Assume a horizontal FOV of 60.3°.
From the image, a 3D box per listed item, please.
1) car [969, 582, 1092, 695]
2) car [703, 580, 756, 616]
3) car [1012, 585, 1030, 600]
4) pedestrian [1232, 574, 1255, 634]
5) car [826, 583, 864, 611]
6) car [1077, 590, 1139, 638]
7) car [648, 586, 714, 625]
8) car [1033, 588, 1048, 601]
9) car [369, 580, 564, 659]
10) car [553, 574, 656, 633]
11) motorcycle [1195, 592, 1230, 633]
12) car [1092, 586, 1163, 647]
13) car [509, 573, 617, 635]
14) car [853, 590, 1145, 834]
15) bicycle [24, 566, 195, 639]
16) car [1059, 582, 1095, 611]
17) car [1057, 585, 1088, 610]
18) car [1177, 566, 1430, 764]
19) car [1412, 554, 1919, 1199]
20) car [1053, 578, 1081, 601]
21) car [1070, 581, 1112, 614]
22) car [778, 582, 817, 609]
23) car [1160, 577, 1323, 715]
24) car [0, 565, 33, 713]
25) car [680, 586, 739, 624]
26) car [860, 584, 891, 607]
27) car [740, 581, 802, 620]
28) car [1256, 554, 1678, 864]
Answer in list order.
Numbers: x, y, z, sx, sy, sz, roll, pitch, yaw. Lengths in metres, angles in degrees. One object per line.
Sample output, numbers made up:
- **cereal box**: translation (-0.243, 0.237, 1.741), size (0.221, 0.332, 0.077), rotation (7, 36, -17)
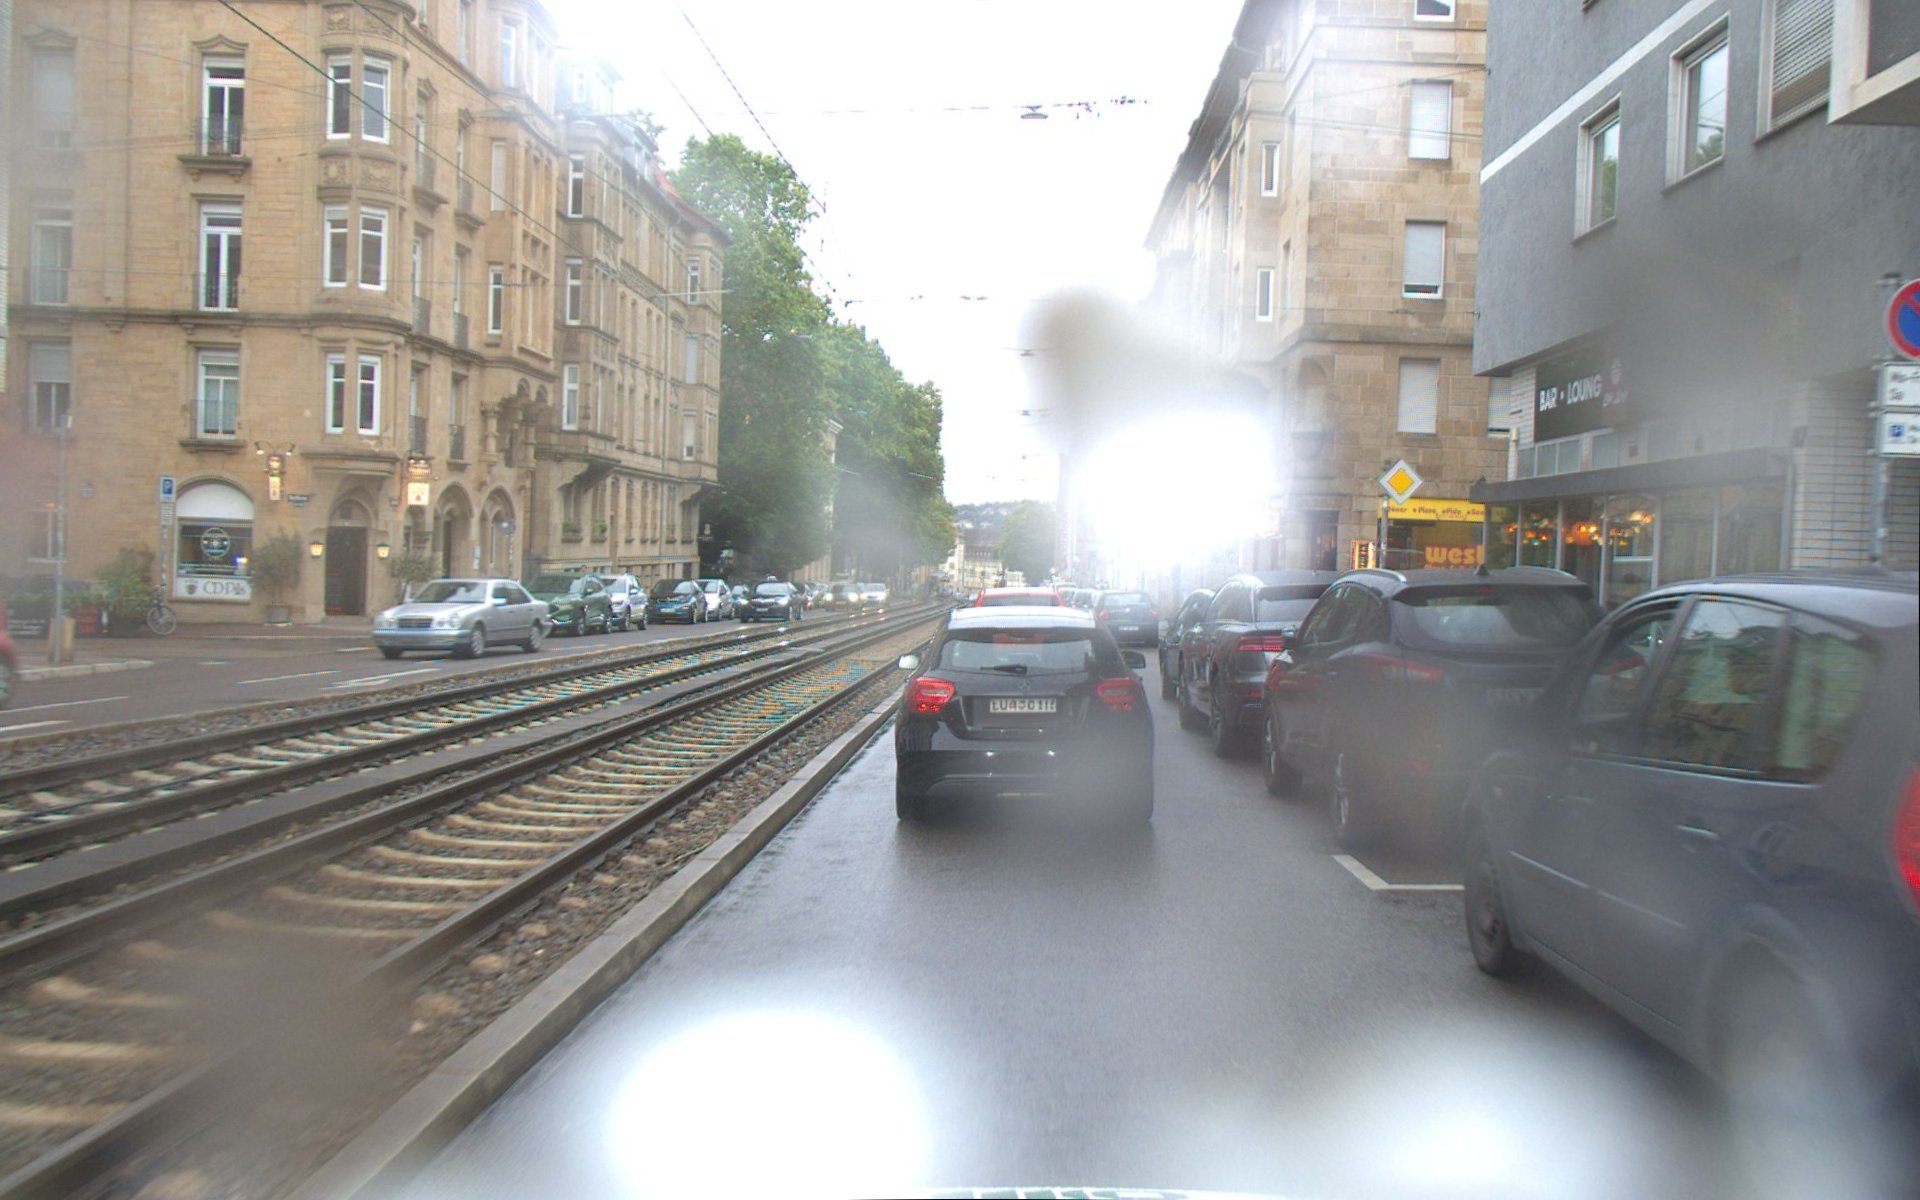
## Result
- **car**: translation (1.011, 0.492, 24.335), size (1.615, 1.477, 4.001), rotation (1, 1, 2)
- **car**: translation (-9.694, -0.100, 69.779), size (1.536, 1.438, 3.483), rotation (0, 1, 4)
- **car**: translation (5.551, -0.665, 149.865), size (1.580, 1.340, 4.001), rotation (0, 1, 2)
- **pedestrian**: translation (7.120, 0.104, 41.544), size (0.445, 1.492, 0.611), rotation (1, 0, 2)
- **car**: translation (-5.979, -0.172, 86.140), size (1.536, 1.438, 3.483), rotation (0, 1, 4)
- **car**: translation (4.300, 0.385, 48.507), size (1.580, 1.340, 4.001), rotation (0, 1, 2)
- **car**: translation (-9.905, 0.166, 58.917), size (1.536, 1.339, 3.483), rotation (0, 1, 4)
- **car**: translation (8.708, -0.585, 179.409), size (1.580, 1.340, 4.001), rotation (0, 1, 2)
- **car**: translation (-9.168, 0.313, 31.156), size (1.768, 1.384, 4.767), rotation (0, 1, 7)
- **car**: translation (-10.288, 0.079, 48.193), size (1.768, 1.624, 4.528), rotation (0, 1, 4)
- **motorcycle**: translation (8.477, 0.409, 55.700), size (0.861, 1.338, 2.396), rotation (1, 0, 2)
- **car**: translation (4.368, 0.404, 43.498), size (1.588, 1.510, 4.001), rotation (0, 1, 2)
- **car**: translation (-10.463, 0.082, 43.890), size (1.686, 1.568, 3.936), rotation (0, 1, 4)
- **car**: translation (0.373, 0.696, 12.474), size (1.827, 1.477, 4.002), rotation (1, 1, 4)
- **bicycle**: translation (-19.302, 0.040, 37.639), size (3.087, 1.612, 1.595), rotation (0, 0, -9)
- **car**: translation (5.585, -0.198, 79.063), size (1.580, 1.340, 4.001), rotation (0, 1, 2)
- **car**: translation (6.263, -0.144, 92.474), size (1.580, 1.340, 4.001), rotation (0, 1, 2)
- **car**: translation (3.267, 0.536, 16.595), size (1.714, 1.699, 4.705), rotation (0, 1, 2)
- **car**: translation (2.909, 0.684, 5.405), size (1.729, 1.586, 4.747), rotation (0, 0, 2)
- **car**: translation (6.419, -0.630, 99.874), size (1.580, 1.340, 4.001), rotation (0, 1, 2)
- **car**: translation (5.532, -0.119, 70.042), size (1.580, 1.340, 4.001), rotation (0, 1, 2)
- **car**: translation (-8.720, -0.271, 88.804), size (1.536, 1.438, 3.483), rotation (0, 1, 4)
- **car**: translation (3.561, 0.525, 21.545), size (1.580, 1.633, 4.001), rotation (0, 1, 2)
- **car**: translation (-10.831, 0.414, 15.947), size (1.645, 1.523, 3.520), rotation (0, 1, 4)
- **car**: translation (-9.683, 0.168, 64.035), size (1.536, 1.438, 3.483), rotation (0, 1, 4)
- **car**: translation (-5.274, -0.303, 103.297), size (1.536, 1.438, 3.483), rotation (0, 1, 4)
- **car**: translation (-6.942, 0.001, 61.079), size (1.659, 1.413, 3.483), rotation (0, 1, 4)
- **car**: translation (3.150, 0.576, 11.136), size (1.648, 1.699, 4.123), rotation (0, 1, 1)
